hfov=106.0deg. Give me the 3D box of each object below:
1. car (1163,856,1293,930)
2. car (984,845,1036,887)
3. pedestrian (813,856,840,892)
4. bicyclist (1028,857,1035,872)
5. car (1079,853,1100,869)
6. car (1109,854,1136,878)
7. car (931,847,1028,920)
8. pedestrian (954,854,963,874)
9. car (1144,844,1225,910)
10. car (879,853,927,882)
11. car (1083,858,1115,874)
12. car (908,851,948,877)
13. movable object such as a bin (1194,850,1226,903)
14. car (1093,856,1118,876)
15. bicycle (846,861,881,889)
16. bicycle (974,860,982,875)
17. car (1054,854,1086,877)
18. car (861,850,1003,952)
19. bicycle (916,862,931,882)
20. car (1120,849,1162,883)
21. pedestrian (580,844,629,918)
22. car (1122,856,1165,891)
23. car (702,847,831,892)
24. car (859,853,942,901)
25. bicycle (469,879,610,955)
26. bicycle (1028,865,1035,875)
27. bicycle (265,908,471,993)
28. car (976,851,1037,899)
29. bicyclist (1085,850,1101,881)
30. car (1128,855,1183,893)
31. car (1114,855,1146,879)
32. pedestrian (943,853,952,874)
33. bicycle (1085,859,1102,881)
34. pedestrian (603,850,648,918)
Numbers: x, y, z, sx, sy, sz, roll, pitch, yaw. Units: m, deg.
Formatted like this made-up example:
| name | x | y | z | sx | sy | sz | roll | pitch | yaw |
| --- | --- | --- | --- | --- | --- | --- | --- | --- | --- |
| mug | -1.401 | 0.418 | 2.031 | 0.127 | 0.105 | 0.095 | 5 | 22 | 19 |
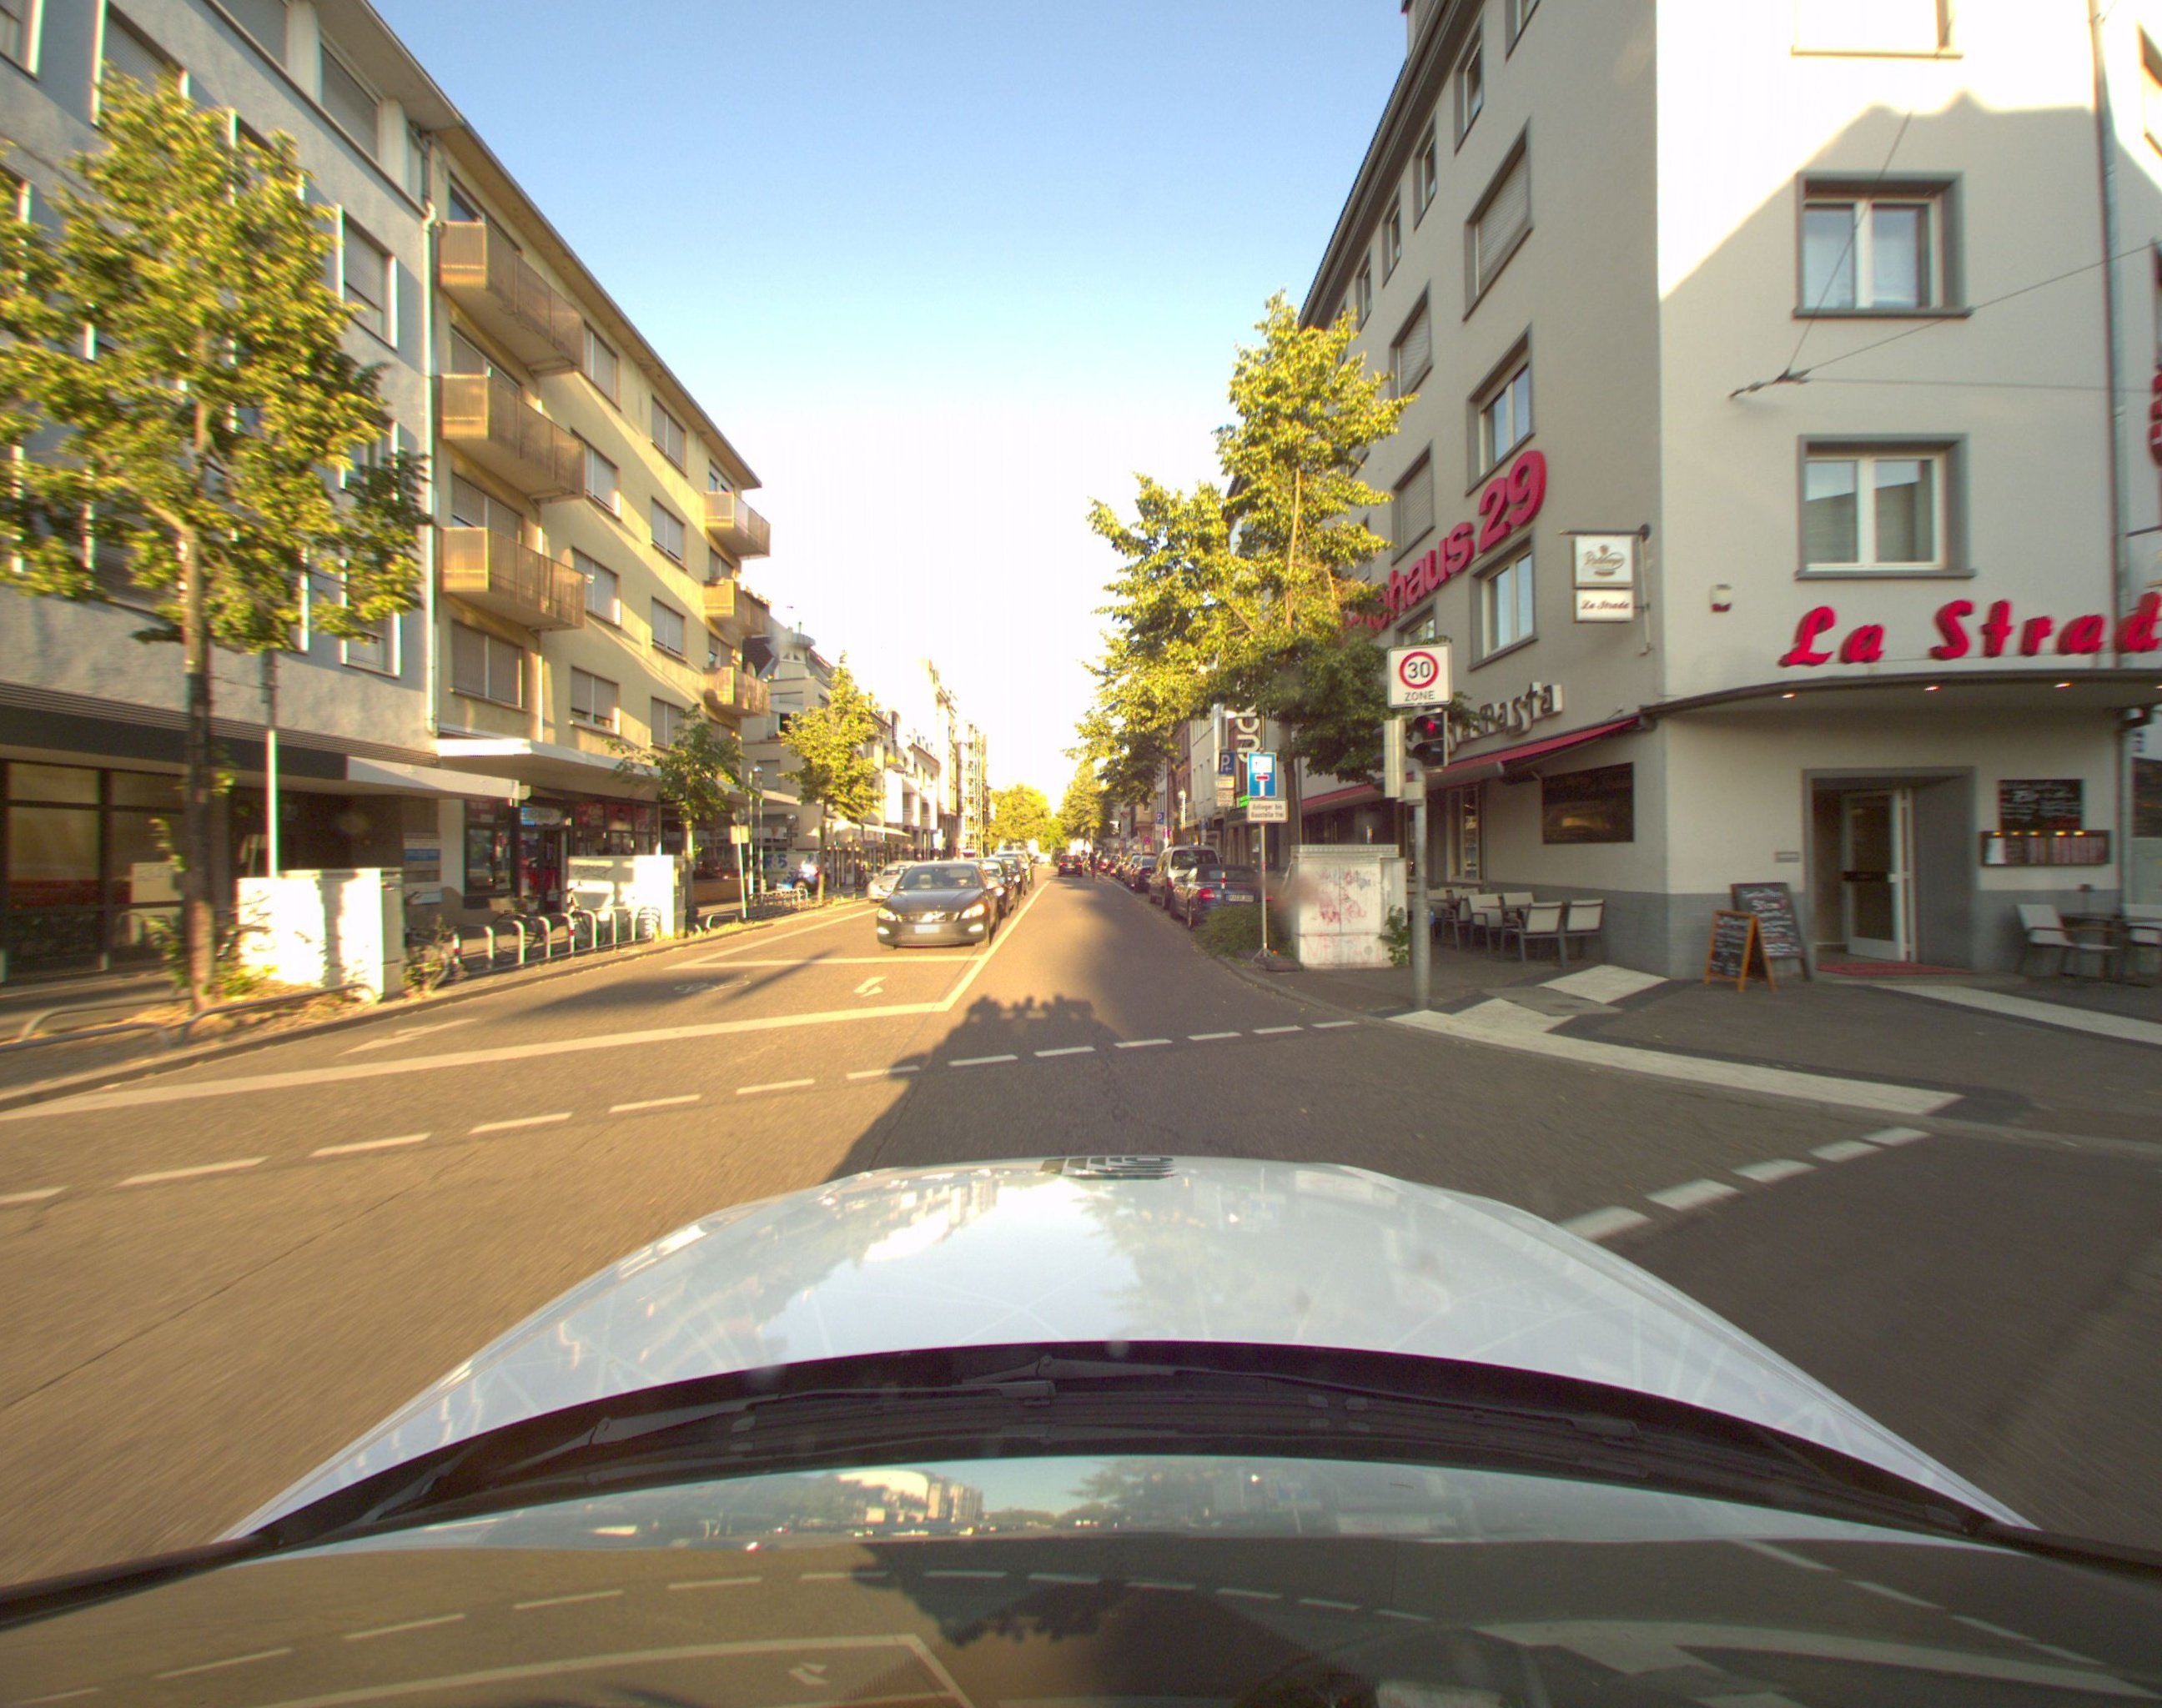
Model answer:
| name | x | y | z | sx | sy | sz | roll | pitch | yaw |
| --- | --- | --- | --- | --- | --- | --- | --- | --- | --- |
| car | 3.050 | 0.761 | 17.816 | 1.932 | 1.376 | 4.178 | 1 | 0 | -2 |
| car | -3.005 | 0.524 | 35.313 | 1.935 | 1.645 | 4.734 | -1 | -1 | -2 |
| pedestrian | -12.146 | 0.941 | 38.919 | 0.899 | 1.676 | 0.994 | 0 | 1 | 5 |
| bicyclist | -6.113 | 1.301 | 100.030 | 0.779 | 1.829 | 1.006 | -1 | -1 | -3 |
| car | 1.104 | 0.919 | 107.481 | 2.261 | 1.766 | 4.503 | 6 | -1 | -4 |
| car | 3.077 | 0.895 | 61.026 | 1.806 | 1.668 | 4.204 | 1 | -1 | 0 |
| car | -2.520 | 0.718 | 21.272 | 1.940 | 1.645 | 4.614 | -1 | -1 | 0 |
| pedestrian | -10.367 | 0.853 | 69.089 | 0.716 | 1.740 | 0.736 | 1 | -1 | -9 |
| car | 2.980 | 0.627 | 24.293 | 1.651 | 1.778 | 4.006 | 1 | 0 | -4 |
| car | -9.118 | 0.714 | 42.028 | 1.656 | 1.403 | 3.881 | 1 | -1 | -1 |
| car | 1.790 | 1.178 | 80.379 | 2.964 | 1.536 | 1.431 | 1 | -1 | -5 |
| car | -9.199 | 0.607 | 49.229 | 1.706 | 1.454 | 3.723 | 1 | -1 | -1 |
| movable object such as a bin | 4.455 | 0.771 | 28.212 | 0.833 | 1.774 | 1.204 | 1 | -1 | -4 |
| car | 2.204 | 1.081 | 74.233 | 1.821 | 1.695 | 4.362 | 1 | -1 | -4 |
| bicycle | -10.595 | 1.007 | 39.804 | 0.956 | 1.300 | 3.124 | 1 | -1 | -3 |
| bicycle | -9.938 | 1.324 | 78.536 | 0.584 | 1.396 | 3.151 | 1 | -1 | -9 |
| car | -0.742 | 0.848 | 58.897 | 1.985 | 1.602 | 4.513 | 1 | -1 | 3 |
| car | -2.516 | 0.739 | 14.885 | 1.953 | 1.547 | 4.504 | -1 | 0 | -3 |
| bicycle | -10.952 | 1.255 | 56.741 | 0.608 | 1.375 | 2.357 | 1 | -1 | -1 |
| car | 3.315 | 0.676 | 46.067 | 1.878 | 1.754 | 5.055 | 1 | -1 | -2 |
| pedestrian | -12.126 | 0.675 | 20.736 | 0.763 | 1.847 | 0.745 | 0 | 1 | 9 |
| car | 3.001 | 0.930 | 39.745 | 1.805 | 1.527 | 4.994 | 1 | -1 | 1 |
| car | -13.632 | 0.692 | 35.613 | 4.861 | 1.828 | 1.995 | 1 | -1 | -8 |
| car | -6.488 | 0.819 | 29.786 | 1.988 | 1.511 | 4.507 | -3 | -1 | -1 |
| bicycle | -9.126 | 1.060 | 13.763 | 2.003 | 1.219 | 0.491 | 1 | -1 | -1 |
| bicycle | -6.121 | 1.989 | 100.065 | 0.779 | 1.204 | 2.018 | -1 | -1 | -3 |
| bicycle | -8.928 | 1.207 | 10.251 | 2.006 | 0.992 | 0.490 | 1 | -1 | -5 |
| car | -2.548 | 0.716 | 28.873 | 1.718 | 1.549 | 4.463 | -1 | -1 | 0 |
| bicyclist | 0.668 | 0.657 | 45.760 | 0.779 | 1.696 | 1.006 | -1 | -1 | -3 |
| car | 3.012 | 0.767 | 33.829 | 1.748 | 1.420 | 4.507 | 1 | 0 | -1 |
| car | 3.143 | 0.859 | 52.992 | 1.756 | 1.484 | 4.305 | 1 | -1 | 0 |
| pedestrian | -11.270 | 0.828 | 68.965 | 0.716 | 1.767 | 0.692 | 1 | -1 | -9 |
| bicycle | 0.687 | 0.912 | 45.800 | 0.779 | 1.204 | 2.018 | -1 | -1 | -3 |
| pedestrian | -12.540 | 0.812 | 22.437 | 0.738 | 1.819 | 0.814 | -1 | 0 | 1 |
